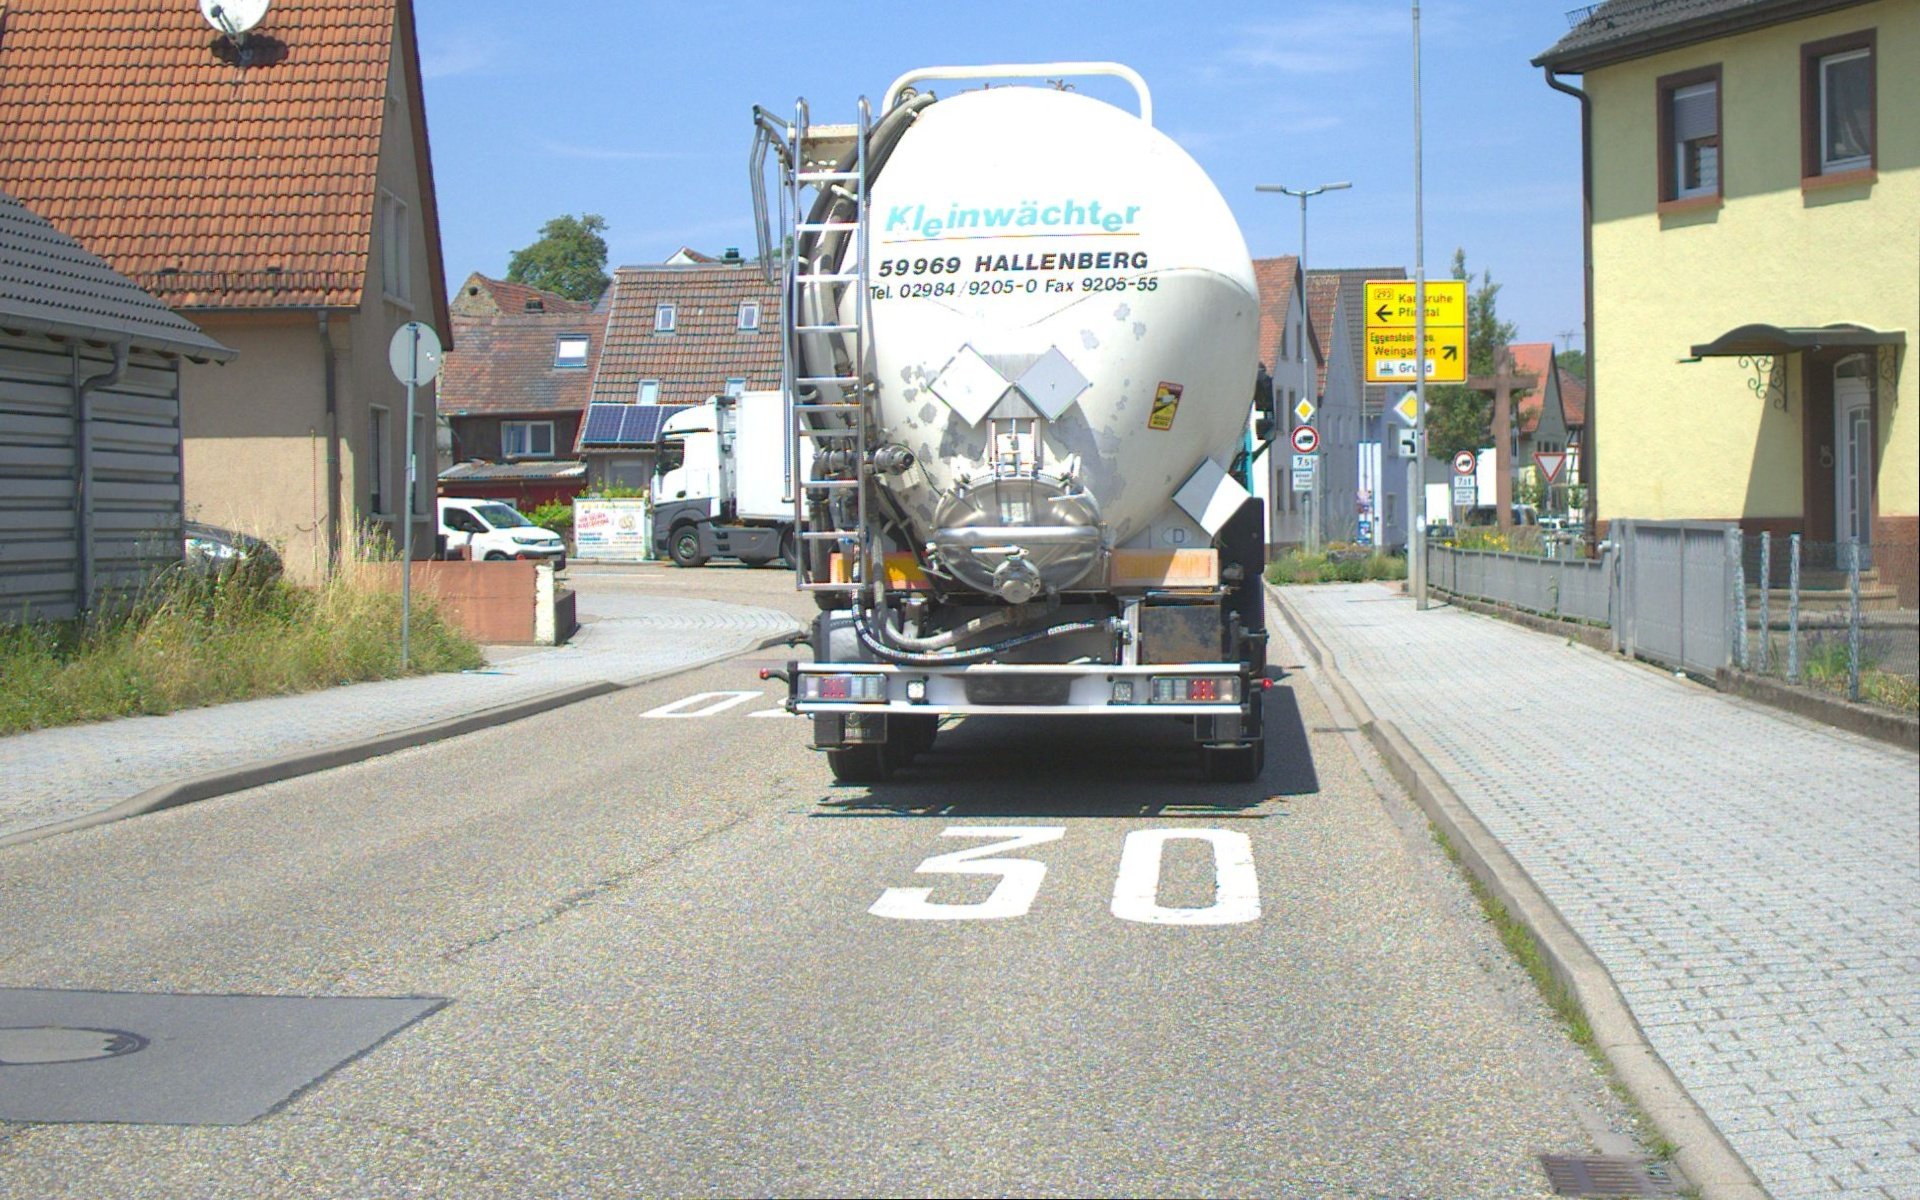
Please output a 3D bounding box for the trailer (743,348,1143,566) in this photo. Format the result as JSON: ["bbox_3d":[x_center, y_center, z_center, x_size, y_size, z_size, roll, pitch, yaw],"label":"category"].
[{"bbox_3d":[-0.637,-2.898,73.655,3.132,4.262,12.497,0,1,-28],"label":"trailer"}]

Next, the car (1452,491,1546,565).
[{"bbox_3d":[14.888,-1.965,94.801,1.995,1.905,4.321,1,0,17],"label":"car"}]

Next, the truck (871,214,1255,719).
[{"bbox_3d":[1.022,-1.095,29.782,2.988,3.951,5.578,0,1,5],"label":"truck"}]

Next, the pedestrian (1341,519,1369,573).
[{"bbox_3d":[14.954,-2.054,130.102,0.770,2.007,0.975,1,2,25],"label":"pedestrian"}]

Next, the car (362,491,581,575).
[{"bbox_3d":[-10.790,-1.503,75.940,4.513,1.779,1.877,1,3,26],"label":"car"}]

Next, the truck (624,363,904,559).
[{"bbox_3d":[-4.564,-3.144,79.706,5.929,4.386,3.108,1,1,38],"label":"truck"}]

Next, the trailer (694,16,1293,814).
[{"bbox_3d":[0.593,-1.006,22.856,2.953,3.934,11.617,0,1,4],"label":"trailer"}]

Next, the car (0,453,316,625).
[{"bbox_3d":[-8.824,-0.606,34.820,4.125,1.632,1.865,-1,1,6],"label":"car"}]

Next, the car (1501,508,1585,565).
[{"bbox_3d":[17.222,-1.884,101.506,1.819,1.629,4.204,0,1,18],"label":"car"}]
